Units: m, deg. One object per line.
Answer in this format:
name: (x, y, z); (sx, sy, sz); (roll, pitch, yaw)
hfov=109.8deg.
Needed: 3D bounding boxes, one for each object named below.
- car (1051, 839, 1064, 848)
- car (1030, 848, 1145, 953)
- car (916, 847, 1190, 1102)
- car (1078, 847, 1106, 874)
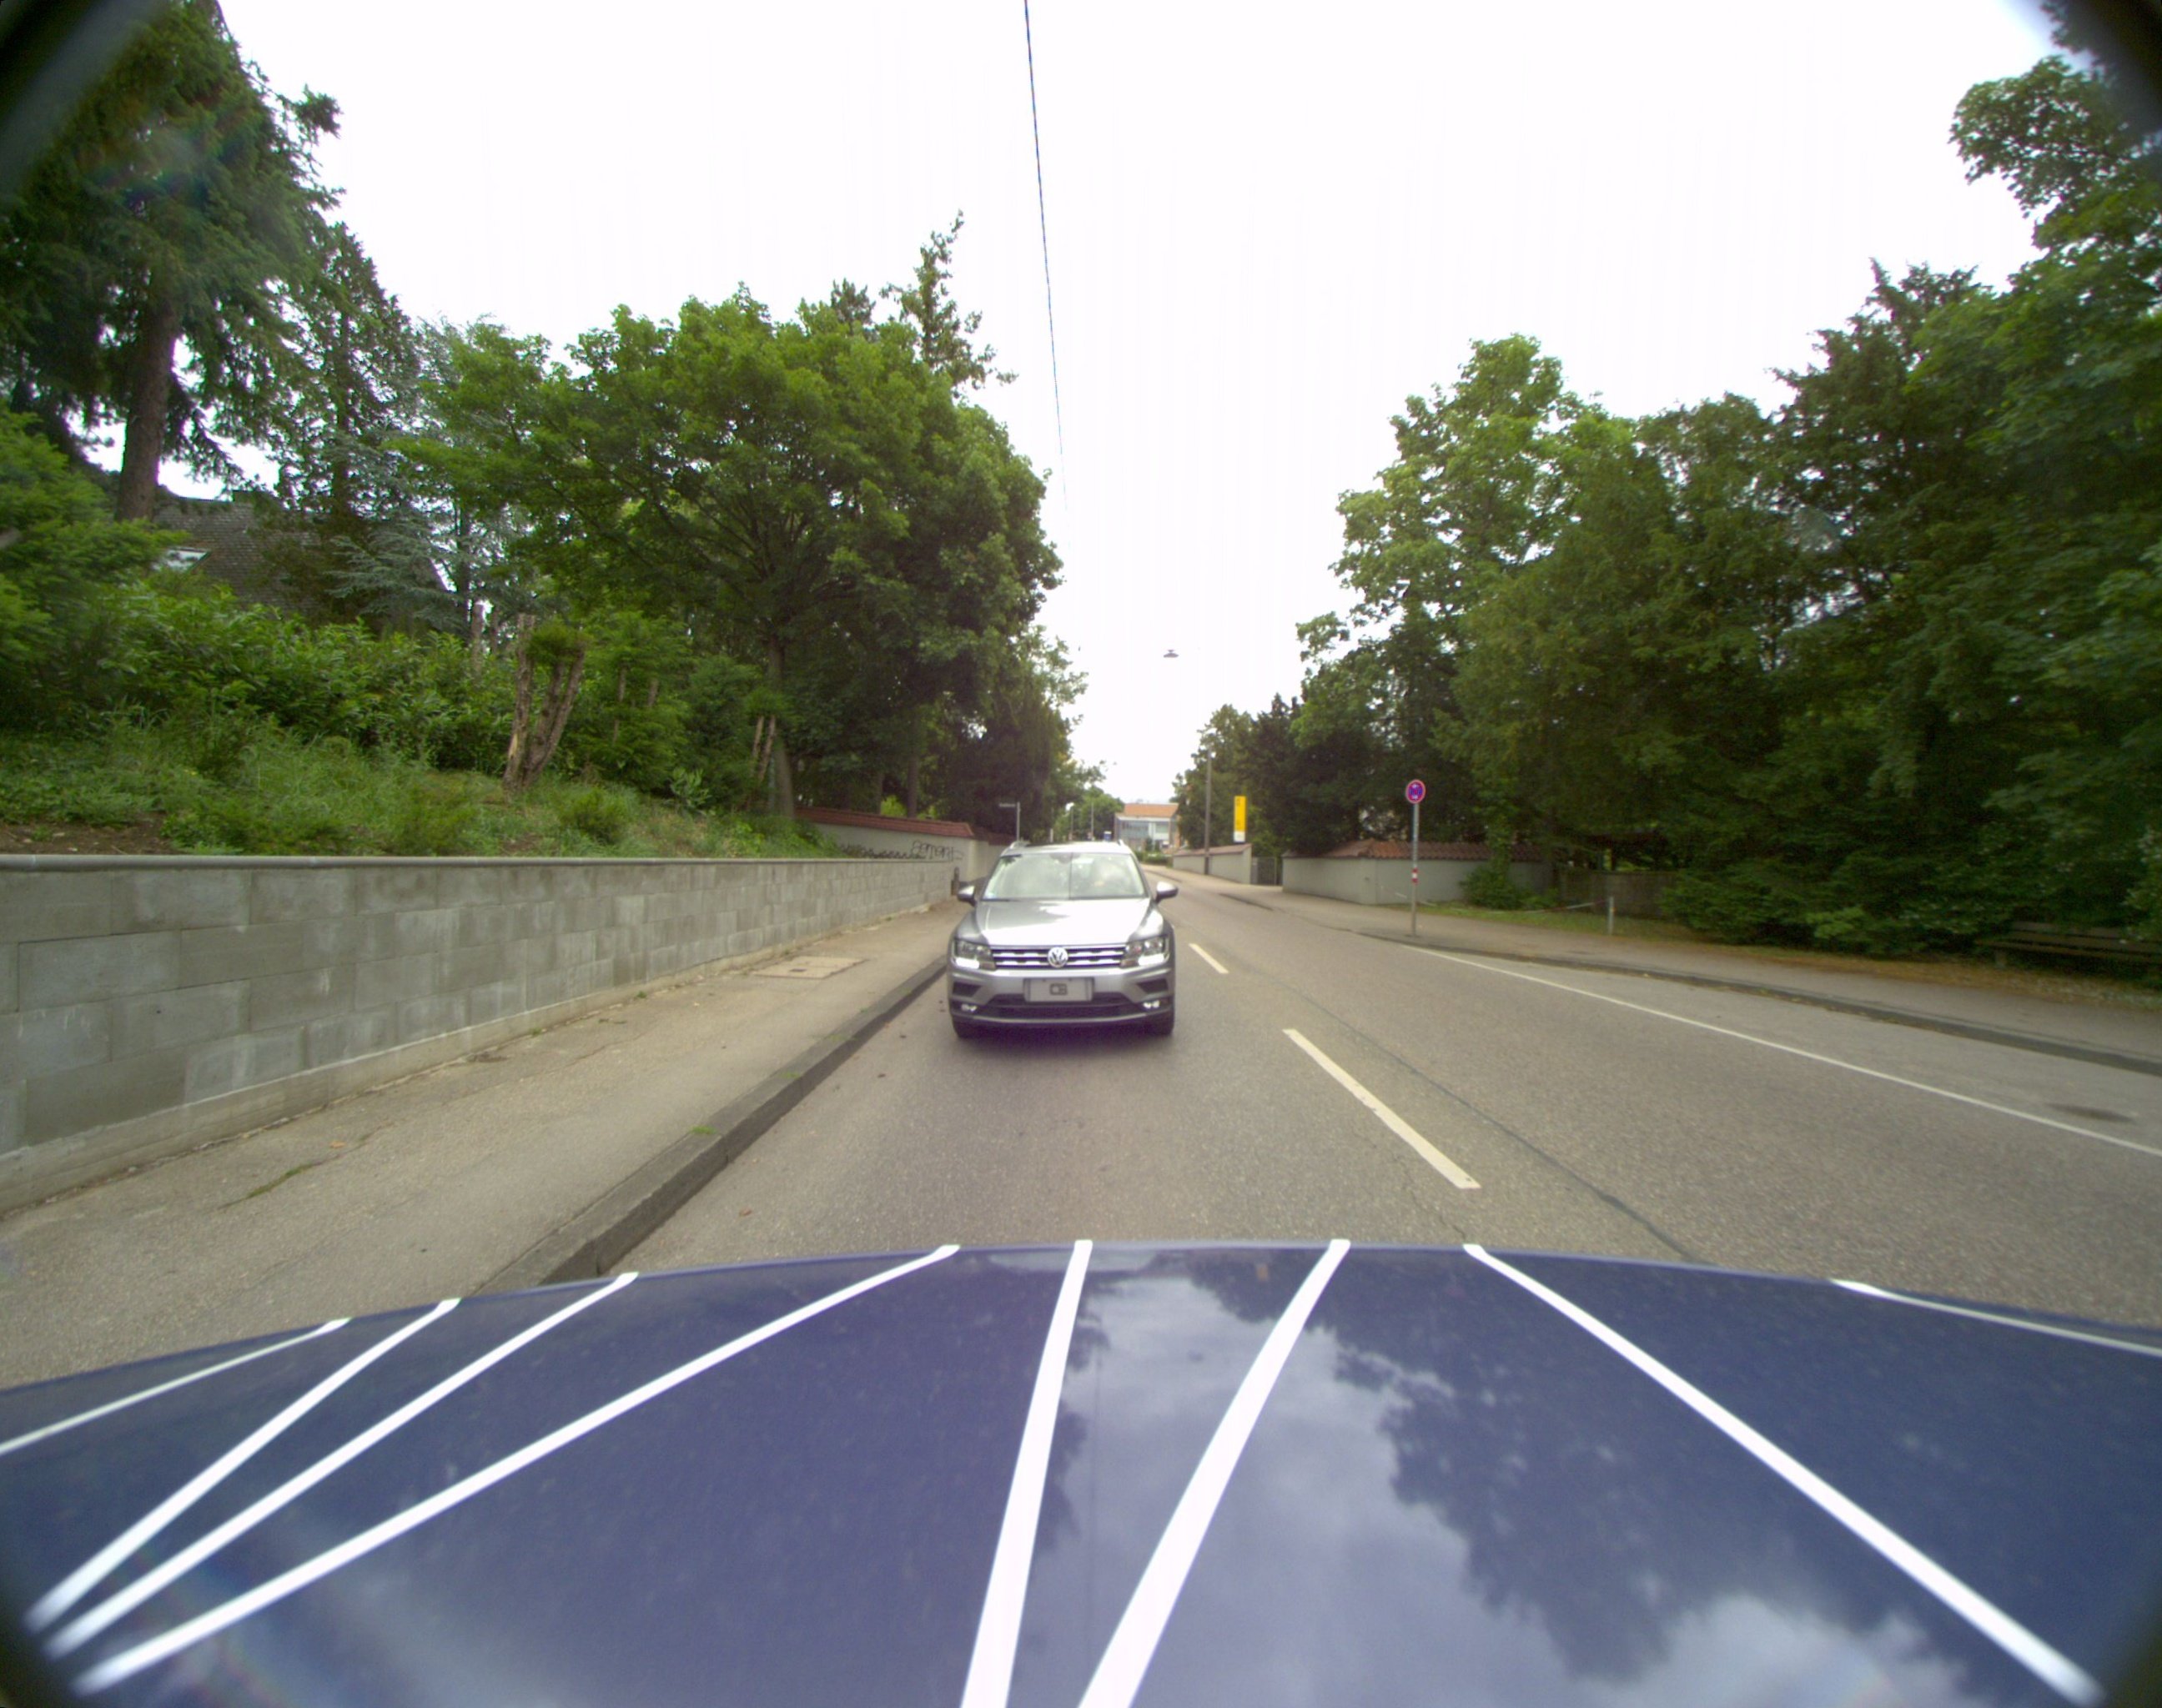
car: (-4.611, -2.009, 146.051); (1.879, 1.647, 4.251); (0, 1, -10)
car: (0.121, 0.729, 14.292); (1.820, 1.647, 4.487); (0, 1, 0)
car: (-0.174, 0.805, 7.516); (1.820, 1.690, 4.718); (-1, 0, 0)
car: (0.732, 0.406, 50.964); (1.820, 1.733, 4.487); (0, 1, 0)
